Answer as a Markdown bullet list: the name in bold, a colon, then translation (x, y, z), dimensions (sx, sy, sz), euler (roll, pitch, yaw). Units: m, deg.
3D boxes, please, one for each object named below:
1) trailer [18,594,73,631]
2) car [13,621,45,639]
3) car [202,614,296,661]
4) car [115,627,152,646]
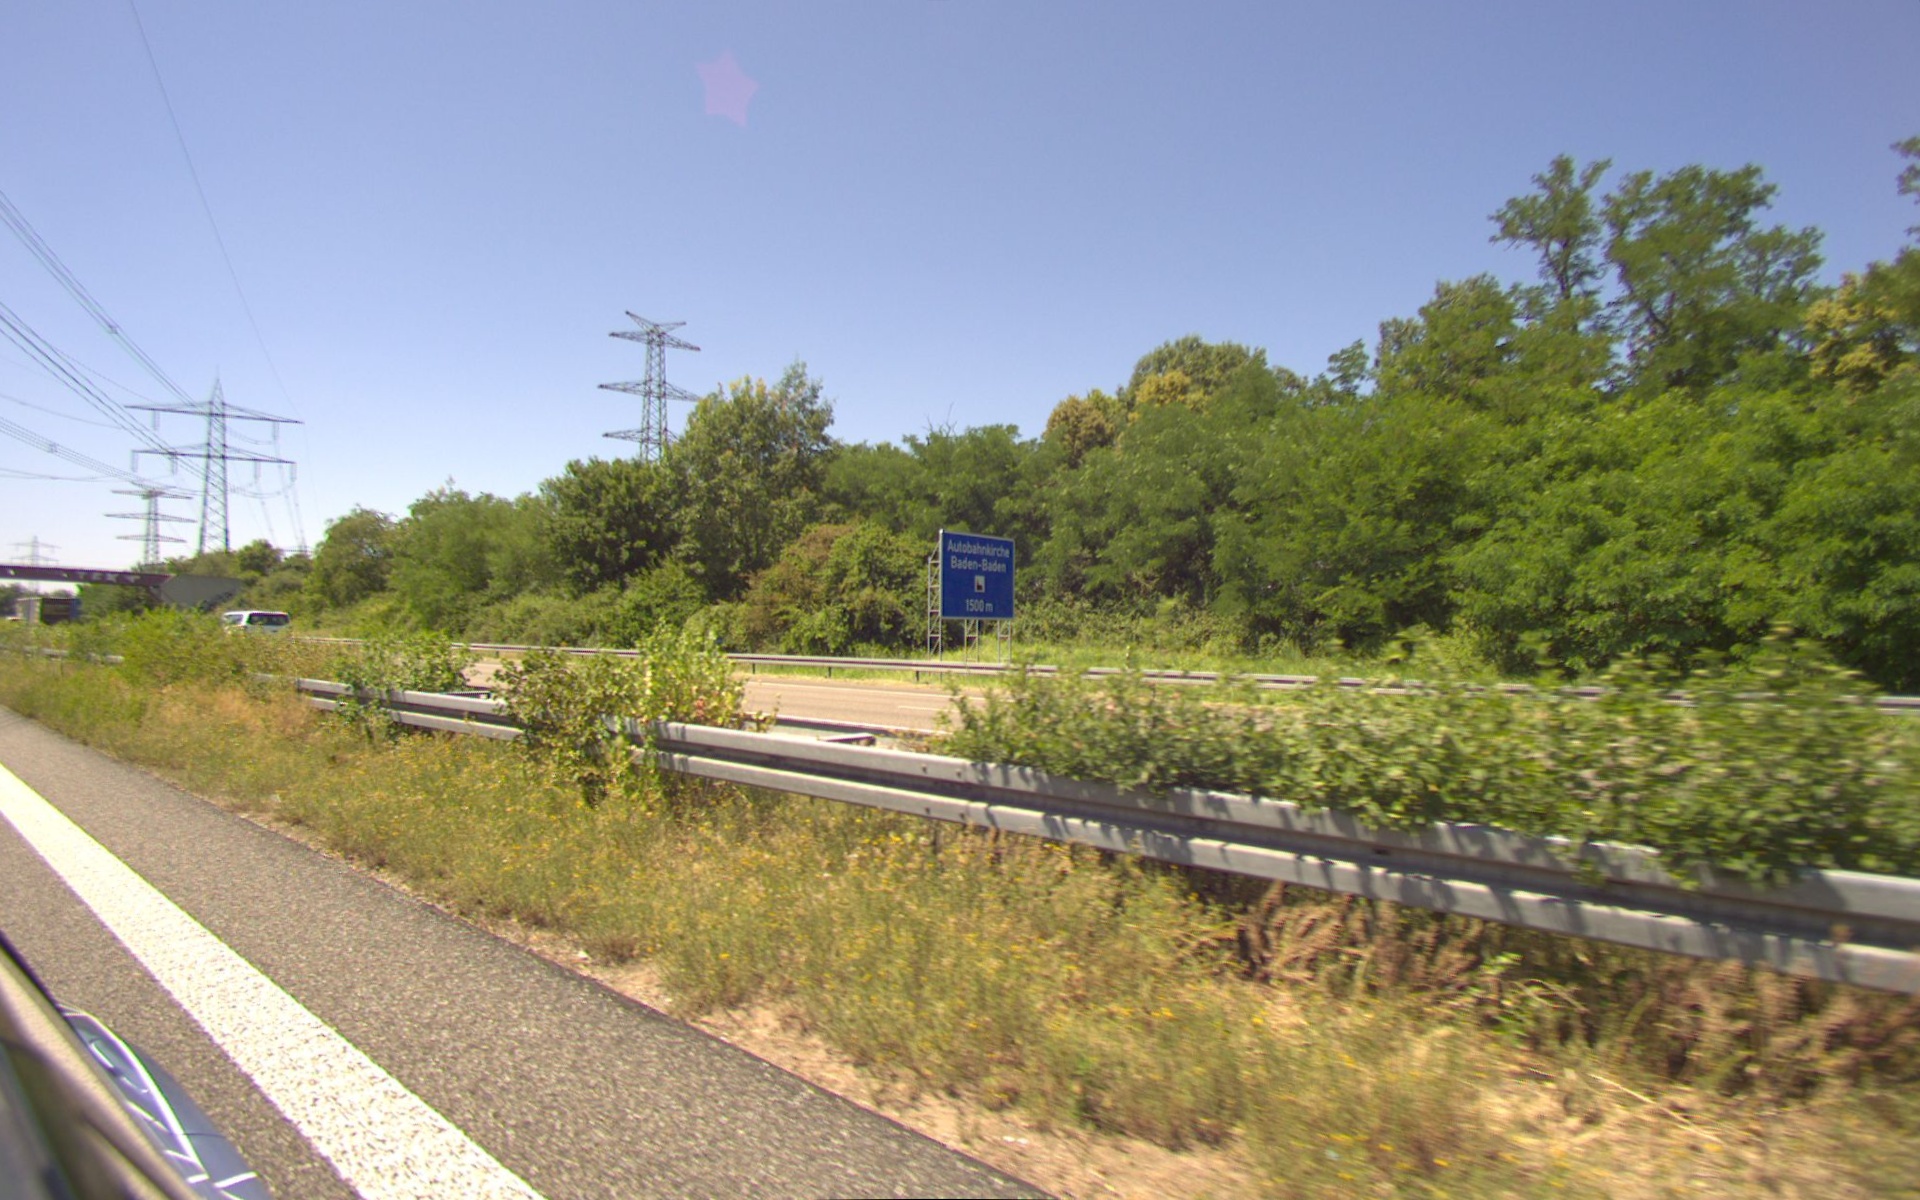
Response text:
- **trailer**: translation (-98.404, 1.391, 108.830), dimensions (12.712, 3.716, 2.844), euler (-1, -3, 41)
- **car**: translation (-85.693, 2.789, 93.132), dimensions (3.735, 1.608, 1.746), euler (-1, -3, 41)
- **car**: translation (-31.129, 1.647, 44.256), dimensions (5.409, 1.947, 1.973), euler (-1, -4, 40)
- **car**: translation (-67.120, 2.962, 82.141), dimensions (3.735, 1.513, 1.695), euler (-1, -4, 41)
